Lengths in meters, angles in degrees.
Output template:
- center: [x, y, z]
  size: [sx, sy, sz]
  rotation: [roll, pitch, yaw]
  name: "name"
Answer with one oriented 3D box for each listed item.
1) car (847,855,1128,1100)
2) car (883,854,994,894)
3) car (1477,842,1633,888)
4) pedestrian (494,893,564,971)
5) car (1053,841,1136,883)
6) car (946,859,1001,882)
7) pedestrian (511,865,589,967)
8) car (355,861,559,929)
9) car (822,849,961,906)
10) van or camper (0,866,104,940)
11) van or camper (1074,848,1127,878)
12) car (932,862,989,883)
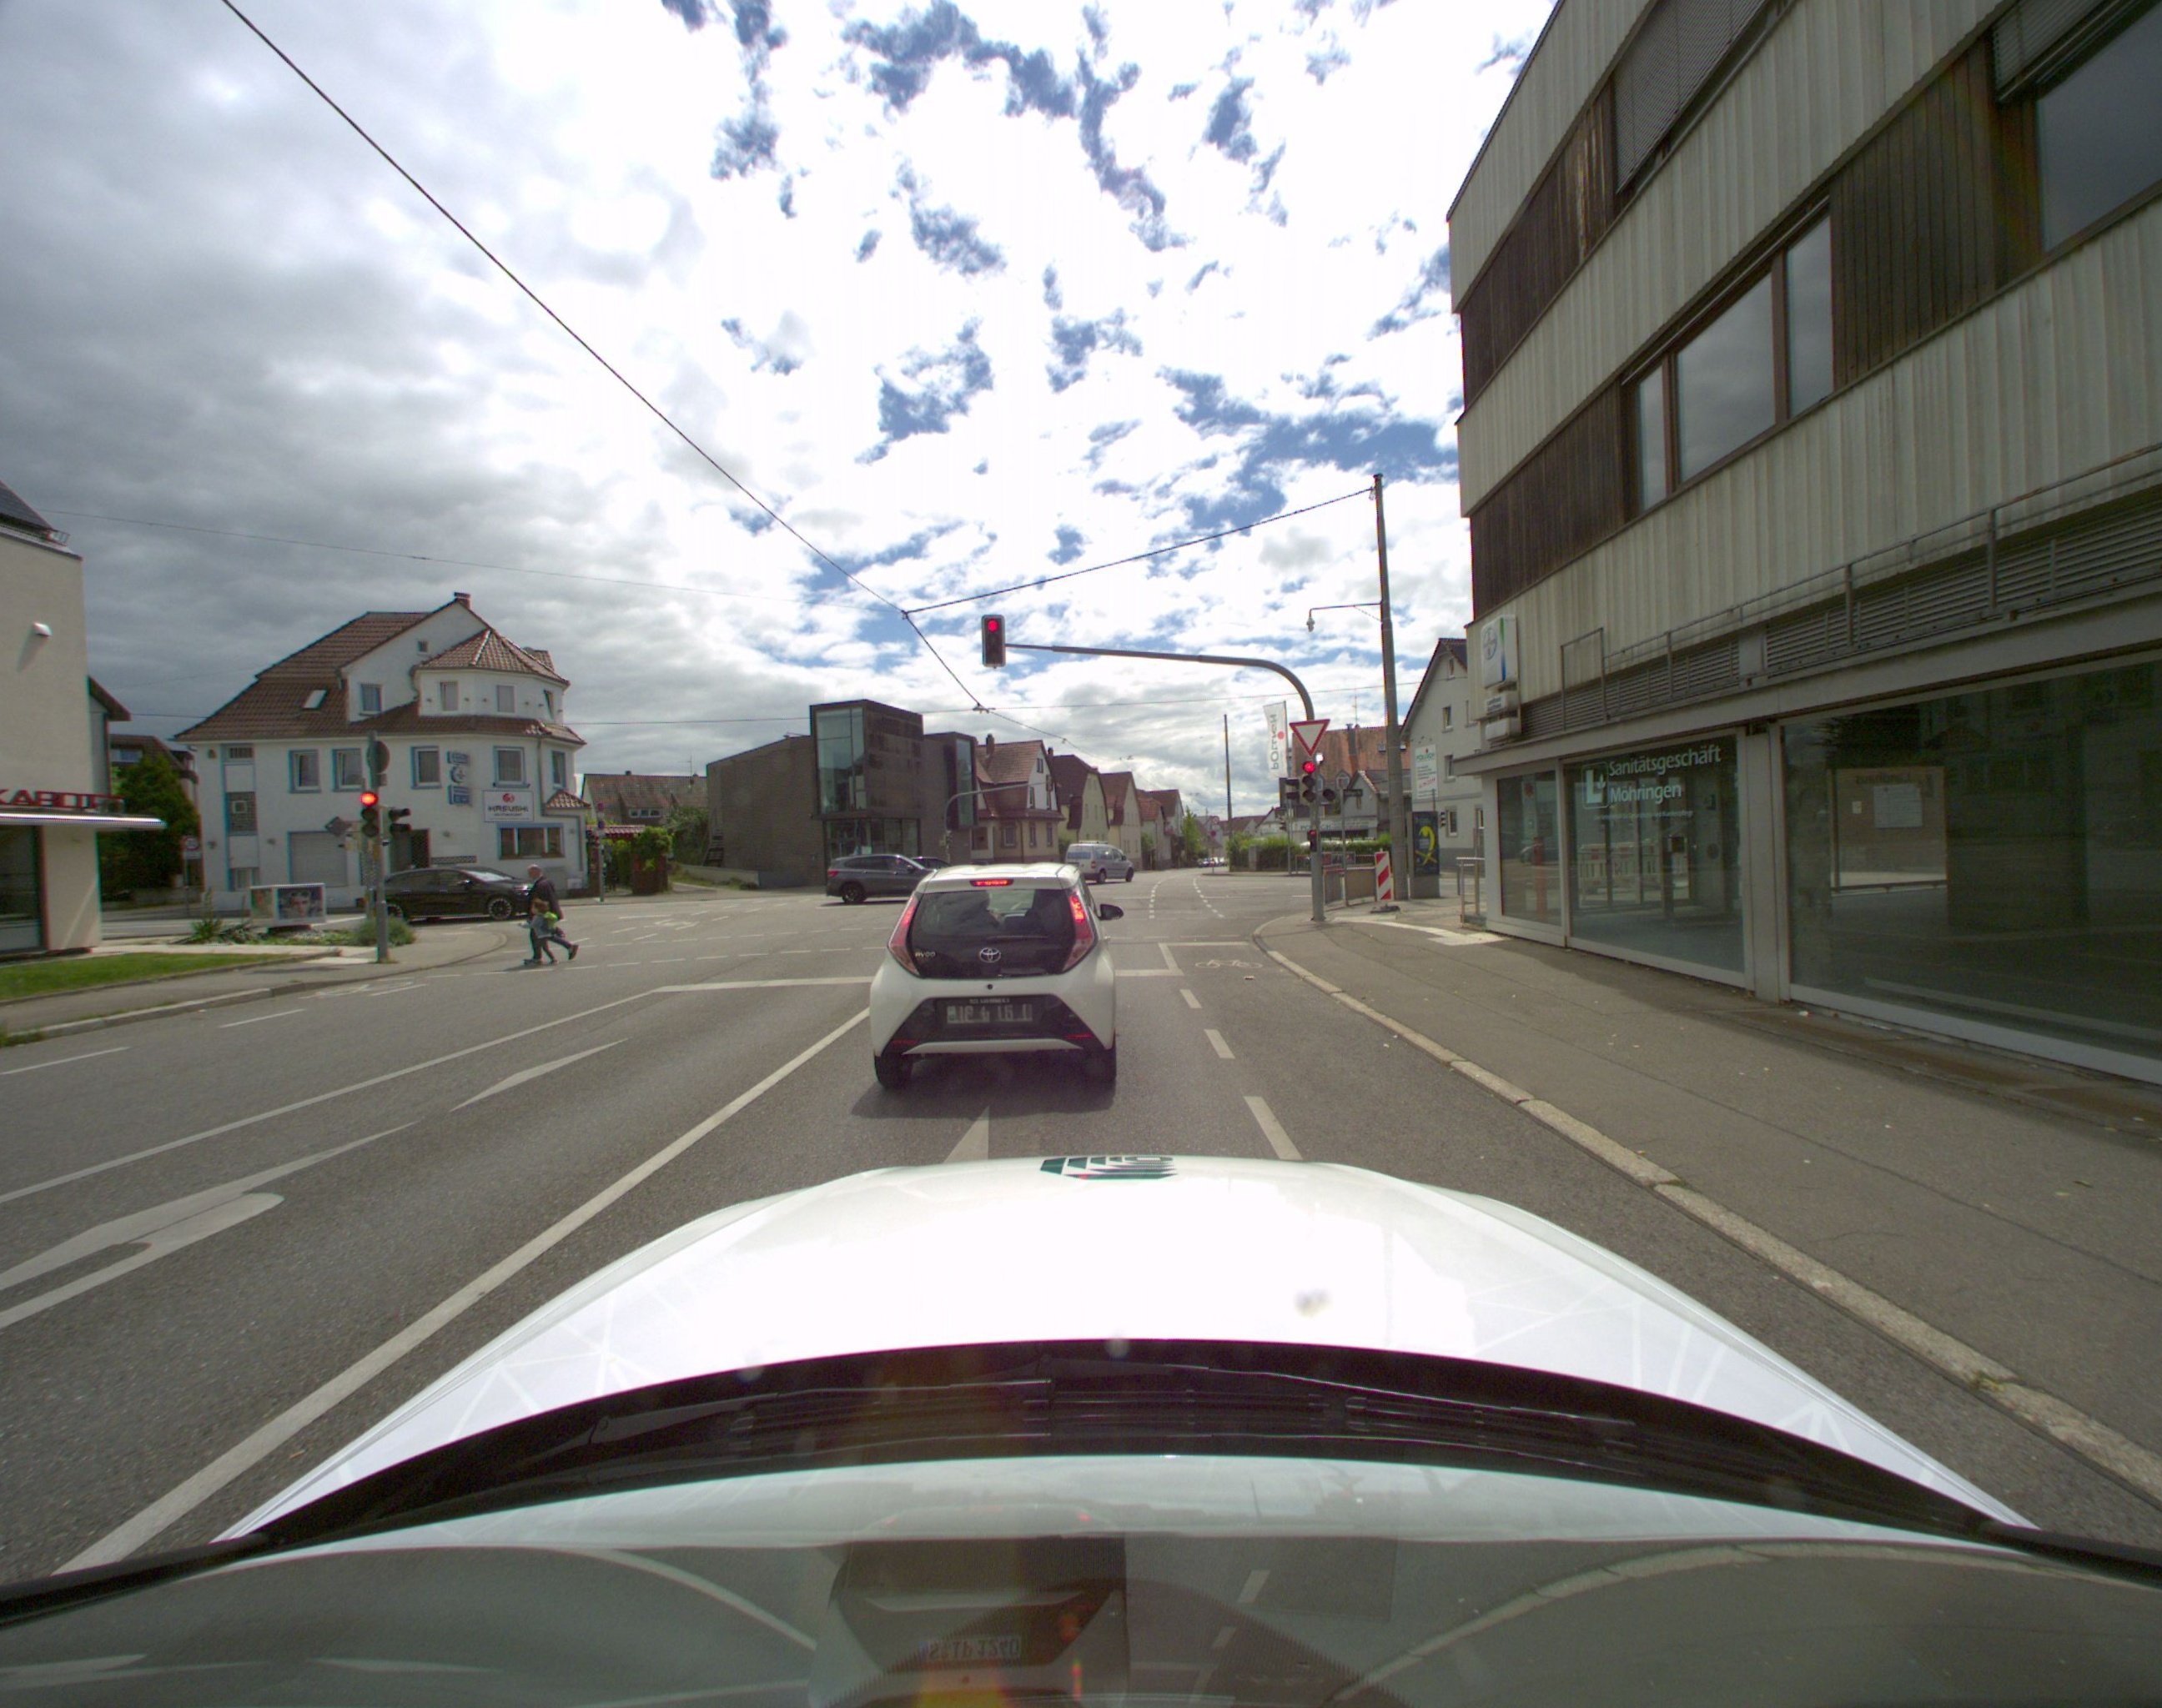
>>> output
- center: [-0.570, 0.754, 6.633]
  size: [1.692, 1.456, 3.298]
  rotation: [-1, 0, 0]
  name: "car"
- center: [-5.759, 0.754, 32.834]
  size: [4.010, 1.486, 1.982]
  rotation: [0, 0, -28]
  name: "car"
- center: [17.900, 0.398, 30.871]
  size: [4.891, 1.577, 1.996]
  rotation: [-1, 0, -7]
  name: "car"
- center: [-9.323, 1.307, 13.779]
  size: [0.732, 1.221, 0.644]
  rotation: [-2, 0, -6]
  name: "pedestrian"
- center: [0.680, 0.338, 37.591]
  size: [1.974, 1.849, 4.099]
  rotation: [-1, 0, 32]
  name: "car"
- center: [-7.835, 1.207, 59.505]
  size: [3.589, 1.605, 1.697]
  rotation: [-1, 0, 13]
  name: "car"
- center: [-9.442, 1.077, 14.515]
  size: [0.821, 1.721, 0.816]
  rotation: [-2, 0, -5]
  name: "pedestrian"
- center: [-19.094, 1.206, 25.126]
  size: [4.495, 1.742, 1.996]
  rotation: [-2, 2, -7]
  name: "car"
- center: [-6.179, 0.735, 27.028]
  size: [4.291, 1.675, 1.994]
  rotation: [-2, 0, -9]
  name: "car"
- center: [-32.698, 1.398, 23.893]
  size: [5.113, 2.077, 1.995]
  rotation: [0, 0, -8]
  name: "van or camper"
- center: [1.355, 0.565, 53.888]
  size: [2.099, 1.926, 5.308]
  rotation: [-1, 0, 17]
  name: "van or camper"
- center: [-8.482, 1.275, 57.396]
  size: [3.589, 1.419, 1.697]
  rotation: [-1, 0, 13]
  name: "car"
